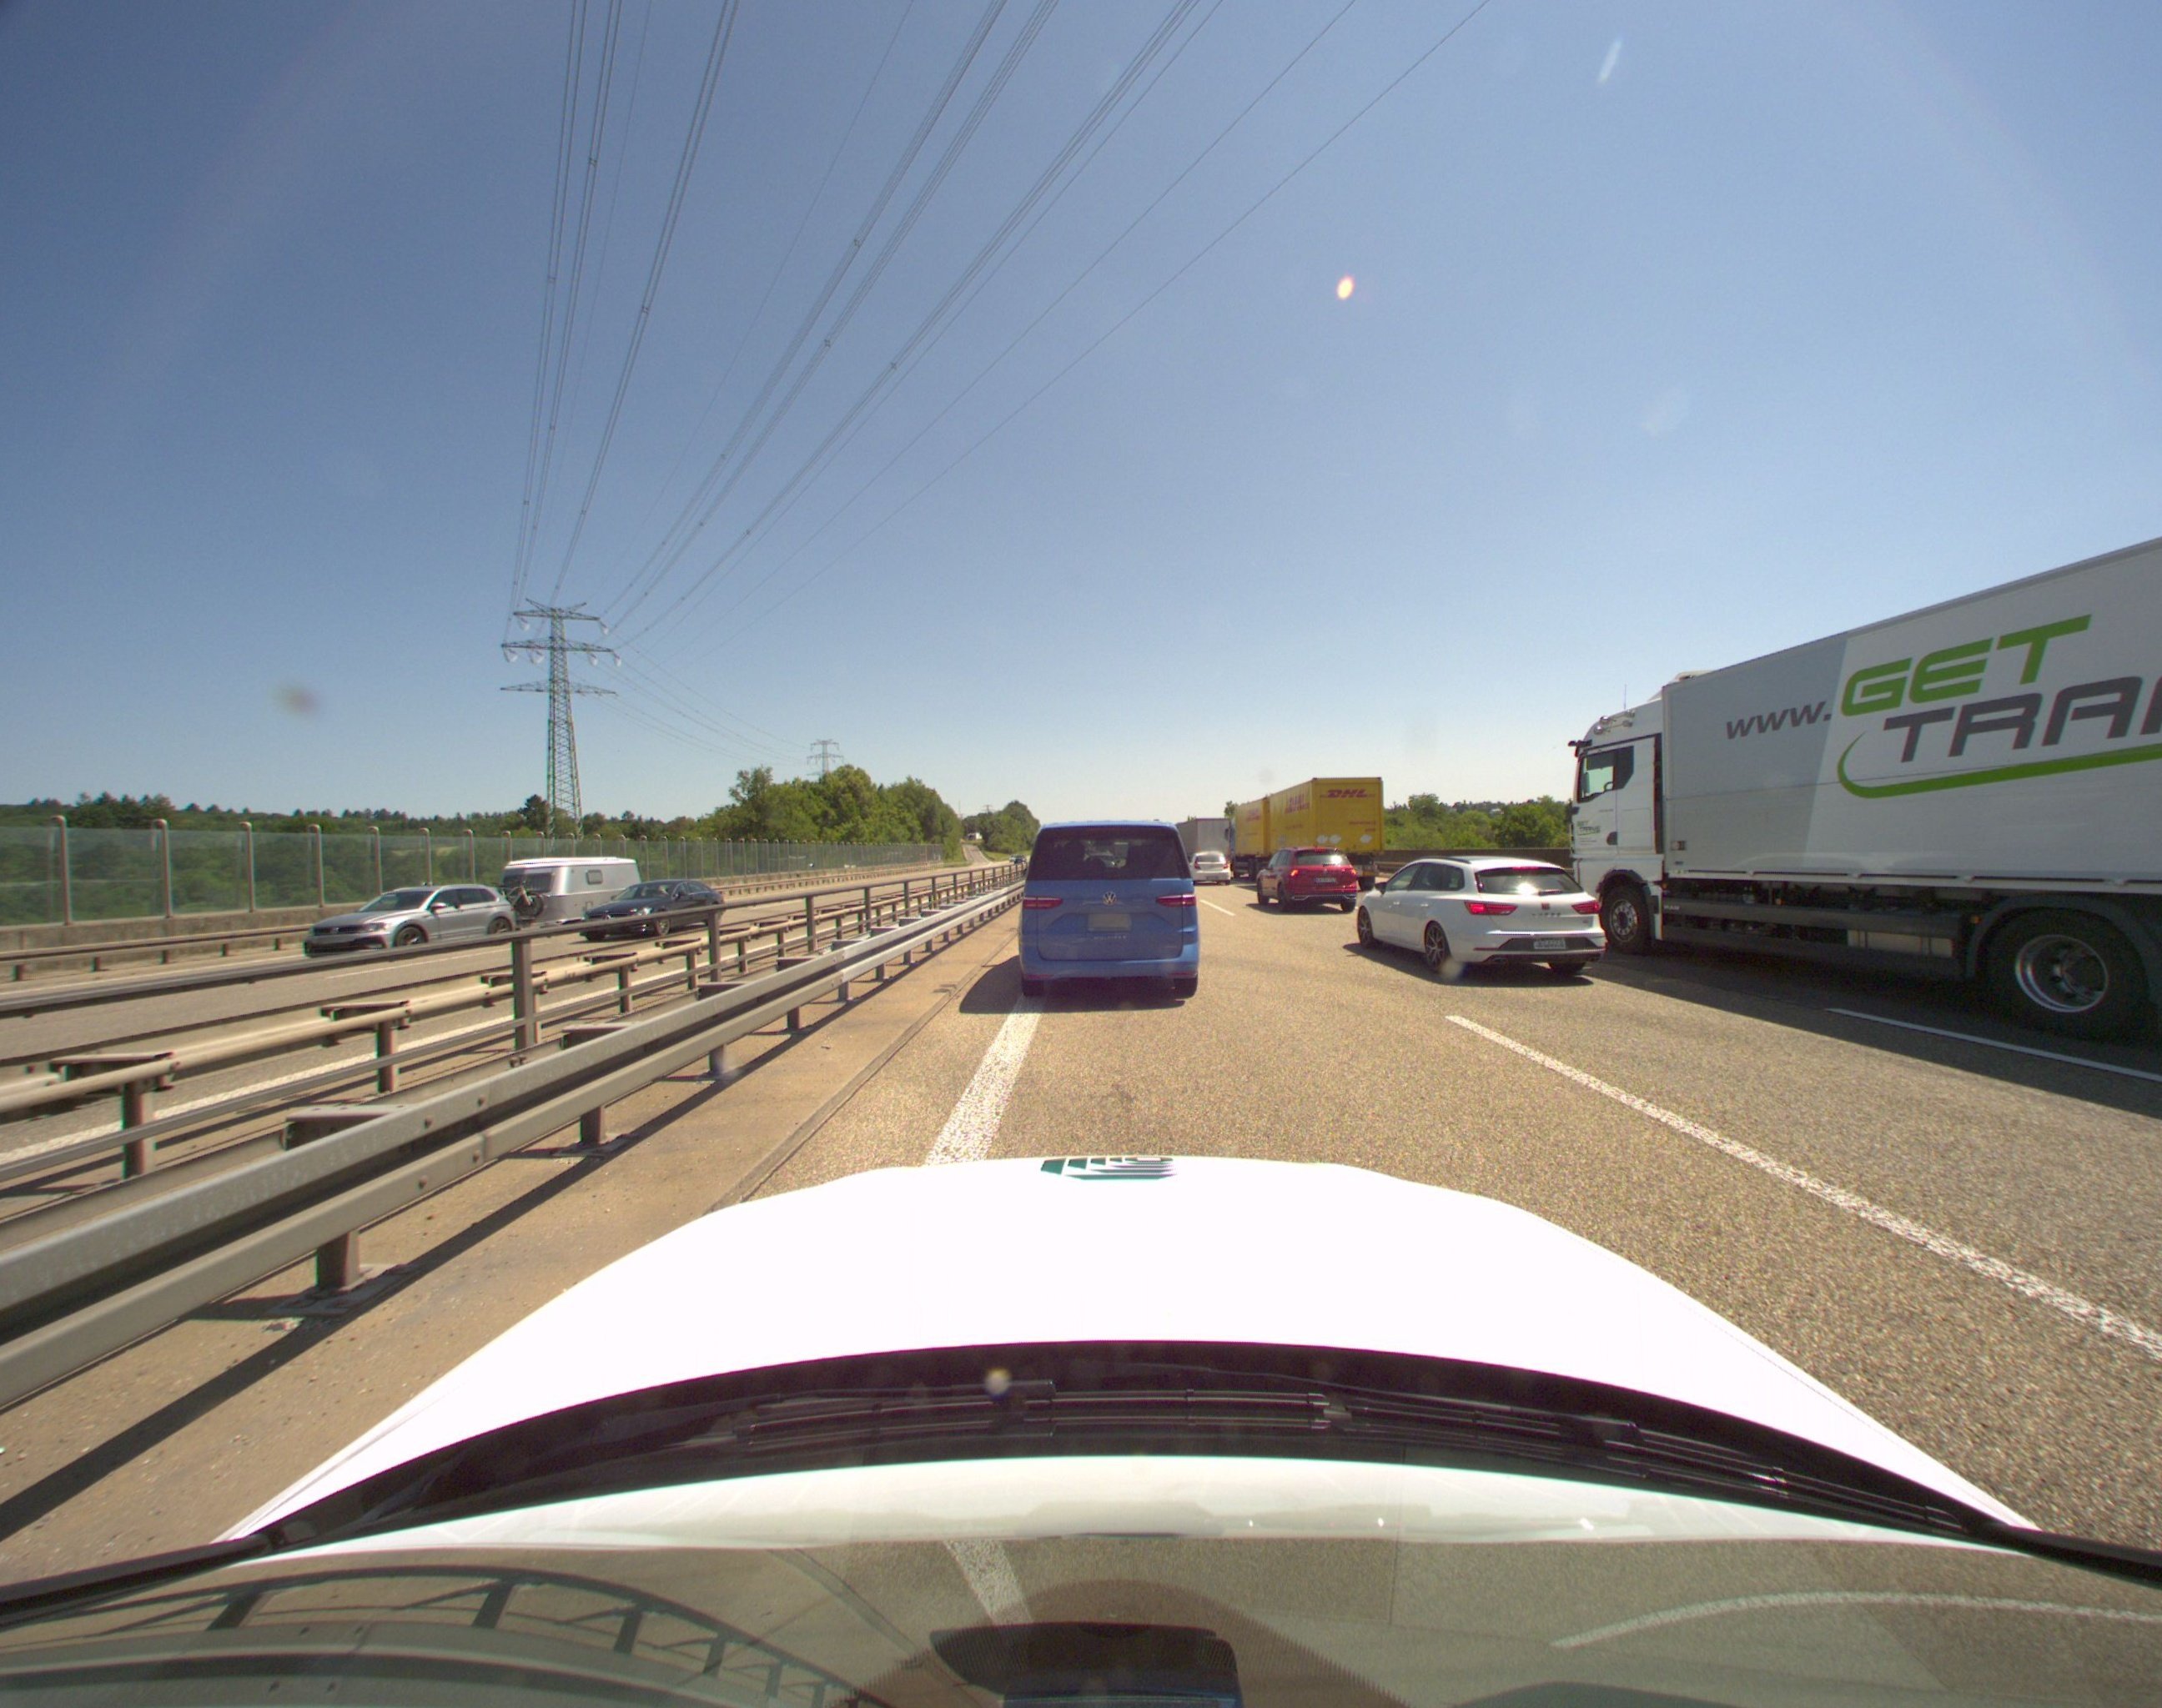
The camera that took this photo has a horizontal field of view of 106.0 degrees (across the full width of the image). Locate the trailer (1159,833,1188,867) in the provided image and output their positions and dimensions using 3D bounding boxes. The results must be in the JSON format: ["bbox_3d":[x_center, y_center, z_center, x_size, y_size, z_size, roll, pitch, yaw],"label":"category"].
[{"bbox_3d":[10.916,-0.395,97.037,2.371,3.744,11.189,0,-1,1],"label":"trailer"}]

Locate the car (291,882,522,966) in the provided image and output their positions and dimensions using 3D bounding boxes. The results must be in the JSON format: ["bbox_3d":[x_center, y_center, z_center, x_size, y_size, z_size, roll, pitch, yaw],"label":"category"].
[{"bbox_3d":[-15.710,1.552,19.317,1.850,1.545,4.201,-4,-1,1],"label":"car"}]

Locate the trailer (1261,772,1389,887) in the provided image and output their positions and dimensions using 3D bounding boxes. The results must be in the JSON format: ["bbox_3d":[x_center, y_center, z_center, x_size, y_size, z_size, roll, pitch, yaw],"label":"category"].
[{"bbox_3d":[9.606,-0.828,33.218,2.692,4.023,8.932,0,-1,1],"label":"trailer"}]

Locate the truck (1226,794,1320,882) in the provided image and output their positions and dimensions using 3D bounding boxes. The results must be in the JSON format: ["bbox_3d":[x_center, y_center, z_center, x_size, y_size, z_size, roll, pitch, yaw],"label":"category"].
[{"bbox_3d":[9.802,-0.713,42.867,2.712,4.054,10.337,0,-1,1],"label":"truck"}]

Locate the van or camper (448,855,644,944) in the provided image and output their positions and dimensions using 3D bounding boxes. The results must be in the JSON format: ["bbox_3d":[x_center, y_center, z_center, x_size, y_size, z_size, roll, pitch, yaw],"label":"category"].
[{"bbox_3d":[-15.613,1.233,24.263,1.987,2.211,5.537,-4,-1,1],"label":"van or camper"}]

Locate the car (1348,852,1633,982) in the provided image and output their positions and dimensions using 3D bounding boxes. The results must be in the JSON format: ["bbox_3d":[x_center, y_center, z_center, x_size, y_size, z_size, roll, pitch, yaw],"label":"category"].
[{"bbox_3d":[5.163,0.686,11.002,1.775,1.387,4.188,-1,0,0],"label":"car"}]

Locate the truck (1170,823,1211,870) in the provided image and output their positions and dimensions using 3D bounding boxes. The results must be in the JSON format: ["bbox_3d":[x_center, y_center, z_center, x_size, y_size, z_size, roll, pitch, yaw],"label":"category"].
[{"bbox_3d":[9.921,-0.629,74.274,2.759,4.095,6.982,0,0,0],"label":"truck"}]

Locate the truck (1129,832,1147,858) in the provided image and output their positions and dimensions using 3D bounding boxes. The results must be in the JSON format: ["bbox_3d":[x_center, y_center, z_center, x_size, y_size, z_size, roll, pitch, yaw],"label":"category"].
[{"bbox_3d":[11.410,-1.660,163.446,2.824,5.040,11.143,0,-1,0],"label":"truck"}]

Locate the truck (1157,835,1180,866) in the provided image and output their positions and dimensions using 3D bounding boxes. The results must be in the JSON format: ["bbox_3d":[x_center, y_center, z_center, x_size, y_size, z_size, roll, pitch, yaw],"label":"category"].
[{"bbox_3d":[10.994,-0.373,102.568,2.359,3.722,6.034,0,-1,1],"label":"truck"}]

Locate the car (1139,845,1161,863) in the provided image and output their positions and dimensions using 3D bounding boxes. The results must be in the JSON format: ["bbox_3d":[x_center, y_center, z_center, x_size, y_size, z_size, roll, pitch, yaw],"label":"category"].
[{"bbox_3d":[6.195,-0.022,73.507,1.709,1.540,3.822,-3,0,1],"label":"car"}]

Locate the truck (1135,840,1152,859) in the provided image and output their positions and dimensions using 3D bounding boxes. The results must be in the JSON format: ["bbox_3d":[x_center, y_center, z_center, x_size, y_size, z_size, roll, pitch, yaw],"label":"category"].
[{"bbox_3d":[11.020,-0.774,143.859,2.348,3.218,9.738,0,-1,0],"label":"truck"}]

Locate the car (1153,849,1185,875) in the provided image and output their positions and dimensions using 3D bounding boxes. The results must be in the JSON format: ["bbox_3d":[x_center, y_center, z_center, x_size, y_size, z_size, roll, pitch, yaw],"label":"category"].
[{"bbox_3d":[5.647,0.516,52.671,1.709,1.587,3.822,-1,-1,1],"label":"car"}]

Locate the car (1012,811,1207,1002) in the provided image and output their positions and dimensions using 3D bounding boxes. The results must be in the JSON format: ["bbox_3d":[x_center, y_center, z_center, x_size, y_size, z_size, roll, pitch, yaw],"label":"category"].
[{"bbox_3d":[0.329,0.513,9.980,1.875,1.837,4.001,-1,0,1],"label":"car"}]

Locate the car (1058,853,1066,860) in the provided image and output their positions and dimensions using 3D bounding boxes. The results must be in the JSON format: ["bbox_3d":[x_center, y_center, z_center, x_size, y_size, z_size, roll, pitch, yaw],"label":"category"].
[{"bbox_3d":[-4.483,0.604,192.254,1.835,1.446,4.420,0,-1,1],"label":"car"}]

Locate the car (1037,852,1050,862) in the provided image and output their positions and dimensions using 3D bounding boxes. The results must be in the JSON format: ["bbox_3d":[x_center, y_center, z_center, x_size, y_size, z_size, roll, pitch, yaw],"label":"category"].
[{"bbox_3d":[-6.056,0.479,132.847,1.834,1.529,3.559,-3,0,1],"label":"car"}]

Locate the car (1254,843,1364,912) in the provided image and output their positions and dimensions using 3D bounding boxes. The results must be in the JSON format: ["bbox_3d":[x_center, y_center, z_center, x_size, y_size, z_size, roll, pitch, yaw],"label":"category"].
[{"bbox_3d":[5.835,0.546,21.307,1.844,1.608,4.001,-1,0,1],"label":"car"}]

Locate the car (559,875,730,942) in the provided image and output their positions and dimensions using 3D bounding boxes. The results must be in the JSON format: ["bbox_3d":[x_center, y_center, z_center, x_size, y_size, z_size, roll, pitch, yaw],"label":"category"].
[{"bbox_3d":[-11.414,1.357,21.754,1.849,1.397,4.677,-4,-1,2],"label":"car"}]

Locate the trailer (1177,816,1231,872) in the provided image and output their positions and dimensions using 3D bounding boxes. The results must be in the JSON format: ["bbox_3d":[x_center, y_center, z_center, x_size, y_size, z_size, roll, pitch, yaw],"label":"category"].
[{"bbox_3d":[9.898,-0.696,66.906,2.746,4.146,11.309,0,-1,0],"label":"trailer"}]

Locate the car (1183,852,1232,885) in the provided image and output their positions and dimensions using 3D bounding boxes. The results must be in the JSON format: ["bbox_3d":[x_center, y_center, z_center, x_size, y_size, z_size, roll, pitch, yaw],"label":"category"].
[{"bbox_3d":[5.806,0.630,37.844,1.831,1.414,4.003,-1,0,3],"label":"car"}]

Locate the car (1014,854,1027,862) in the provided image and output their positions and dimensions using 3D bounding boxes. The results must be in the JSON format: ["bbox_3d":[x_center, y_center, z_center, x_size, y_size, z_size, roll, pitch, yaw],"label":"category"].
[{"bbox_3d":[-9.848,0.672,132.844,1.794,1.386,4.264,0,-1,1],"label":"car"}]

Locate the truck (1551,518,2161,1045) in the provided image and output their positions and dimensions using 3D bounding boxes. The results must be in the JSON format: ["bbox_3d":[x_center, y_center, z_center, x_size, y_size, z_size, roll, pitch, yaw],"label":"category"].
[{"bbox_3d":[8.832,-0.515,7.575,2.841,3.602,10.770,0,0,1],"label":"truck"}]
